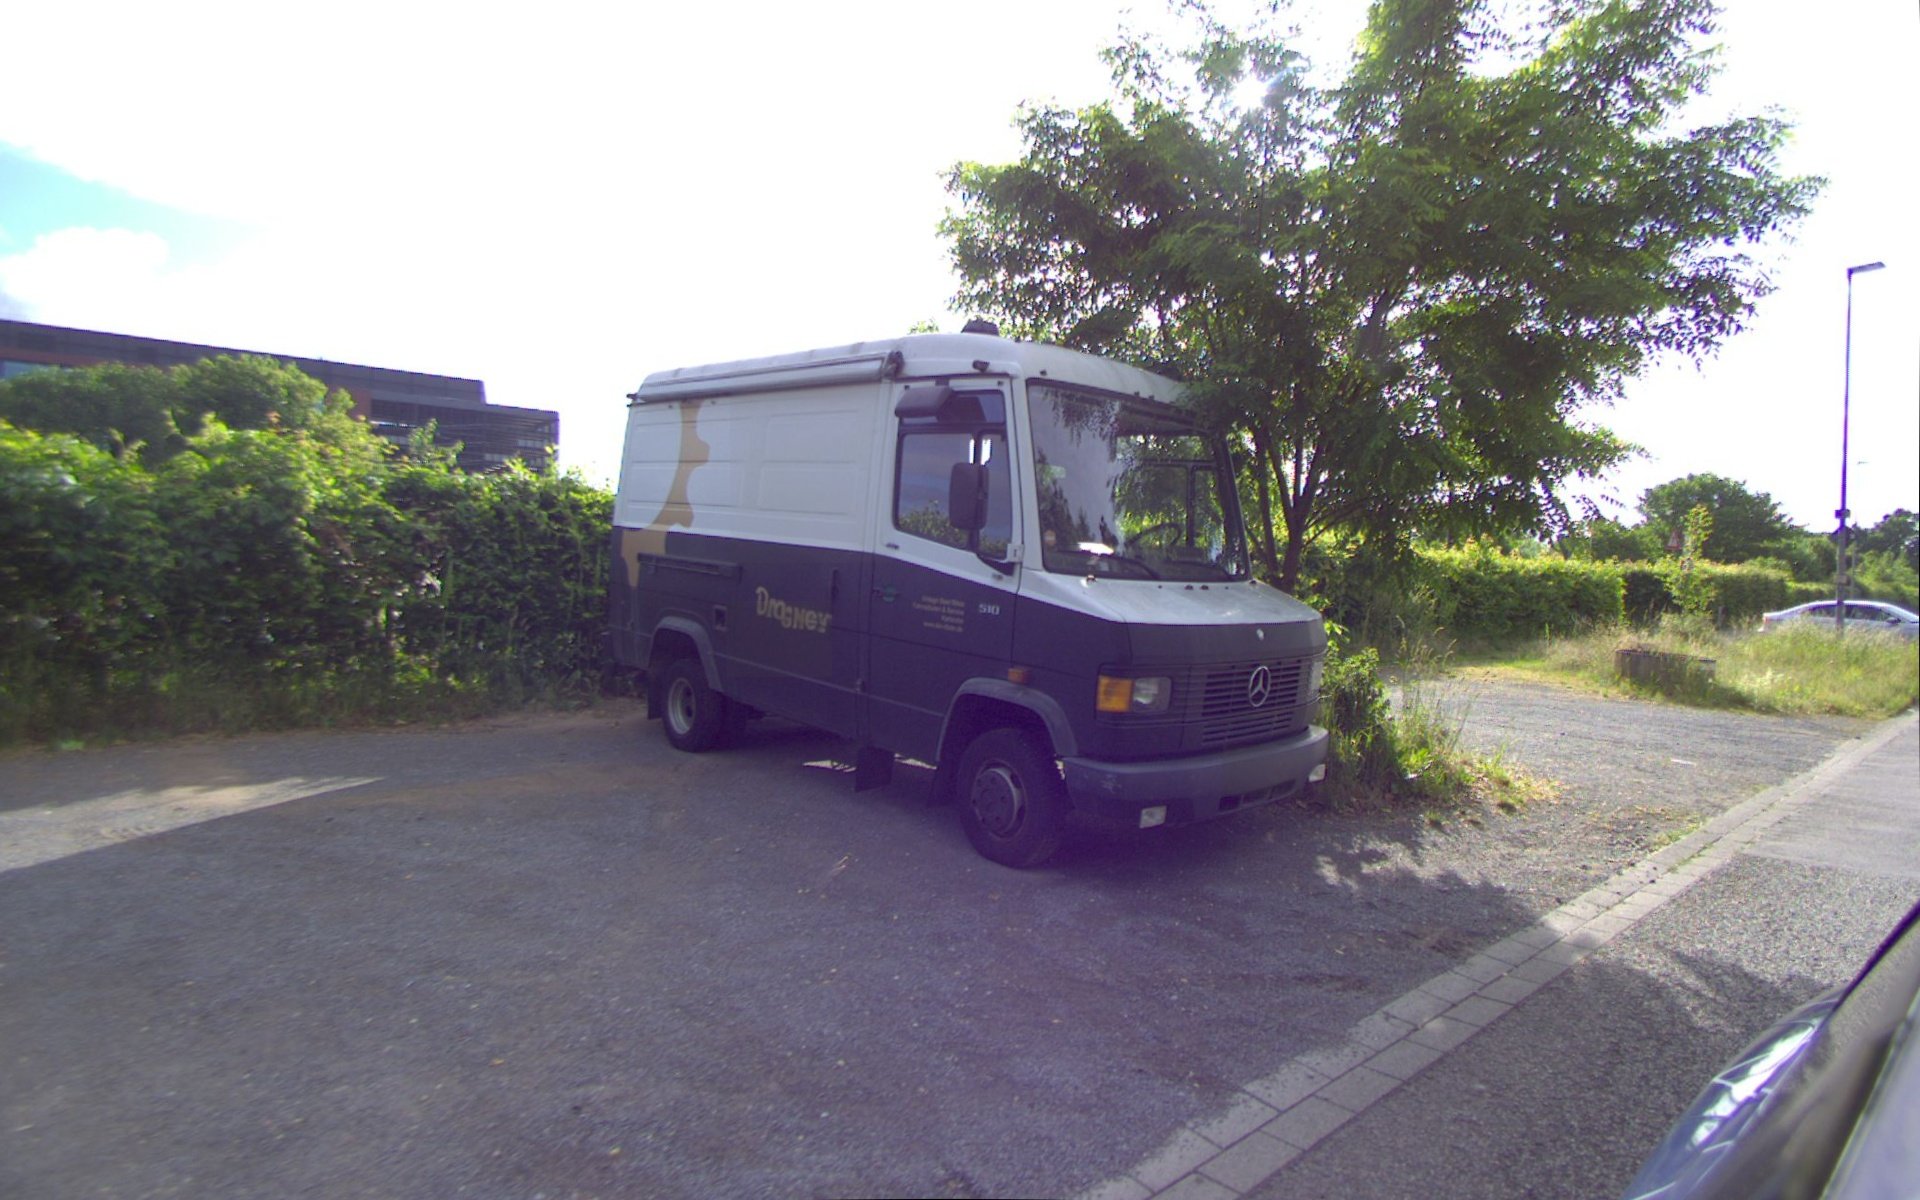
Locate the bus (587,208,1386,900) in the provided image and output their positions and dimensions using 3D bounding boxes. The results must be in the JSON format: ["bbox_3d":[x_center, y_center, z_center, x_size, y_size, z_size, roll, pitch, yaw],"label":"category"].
[{"bbox_3d":[-0.330,-0.318,6.728,2.034,2.780,5.372,1,2,-43],"label":"bus"}]

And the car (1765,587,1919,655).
[{"bbox_3d":[22.795,0.512,24.810,1.895,1.460,4.379,0,3,-34],"label":"car"}]
